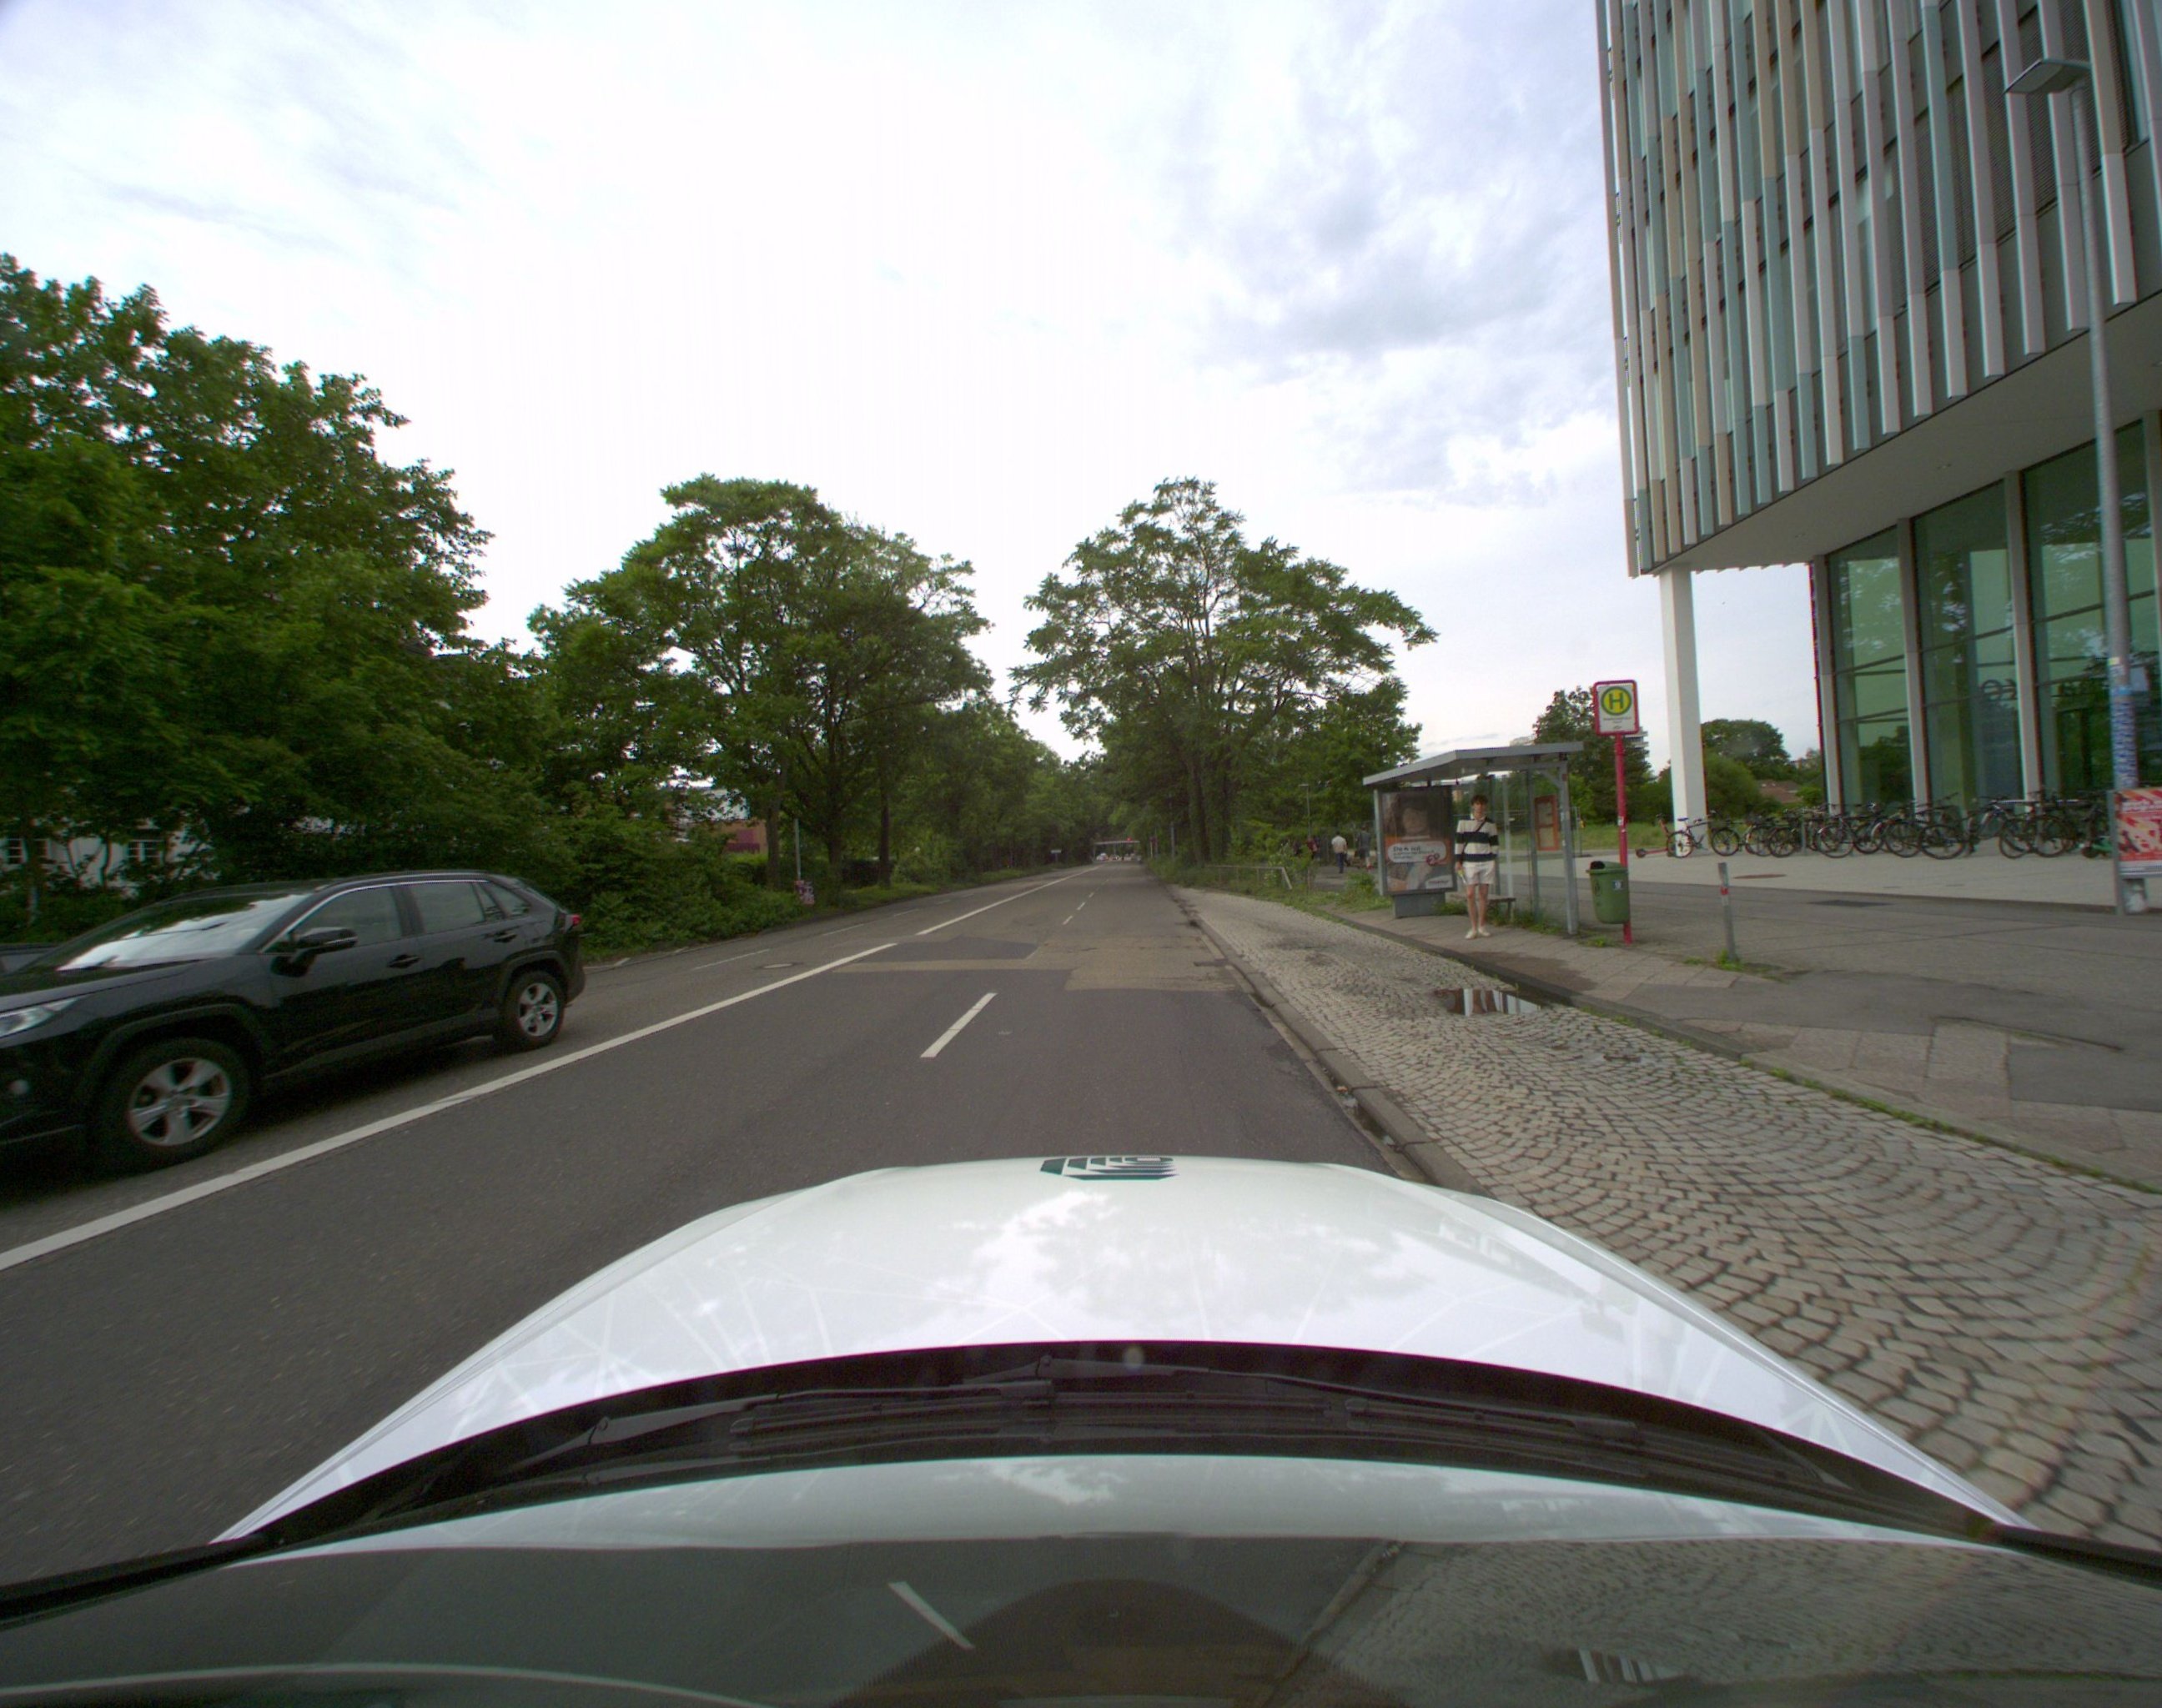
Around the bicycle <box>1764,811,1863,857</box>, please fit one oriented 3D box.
[{"bbox_3d":[16.487,-0.436,18.351,1.599,0.874,0.557,-5,-1,4],"label":"bicycle"}]

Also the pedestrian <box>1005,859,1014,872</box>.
[{"bbox_3d":[-8.625,1.390,98.270,0.788,1.613,0.849,-2,0,3],"label":"pedestrian"}]

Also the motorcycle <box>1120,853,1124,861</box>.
[{"bbox_3d":[10.883,0.839,214.315,0.986,1.936,2.671,-2,0,4],"label":"motorcycle"}]

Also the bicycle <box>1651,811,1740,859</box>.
[{"bbox_3d":[16.508,-0.511,21.903,1.788,1.082,0.626,-6,-1,1],"label":"bicycle"}]

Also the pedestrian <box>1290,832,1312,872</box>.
[{"bbox_3d":[11.782,-0.107,43.664,0.820,2.013,0.721,-5,-1,3],"label":"pedestrian"}]

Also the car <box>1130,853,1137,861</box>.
[{"bbox_3d":[13.566,0.692,210.671,1.835,2.013,4.004,-2,0,3],"label":"car"}]

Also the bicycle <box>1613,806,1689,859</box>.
[{"bbox_3d":[16.543,-0.613,23.685,1.635,1.333,0.465,-6,-1,16],"label":"bicycle"}]

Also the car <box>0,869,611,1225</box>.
[{"bbox_3d":[-5.871,1.005,5.988,1.895,1.593,4.521,-4,-1,4],"label":"car"}]

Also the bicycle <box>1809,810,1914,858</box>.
[{"bbox_3d":[16.585,-0.416,17.327,1.599,0.874,0.557,-5,-1,4],"label":"bicycle"}]

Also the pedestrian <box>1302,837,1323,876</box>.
[{"bbox_3d":[12.540,0.125,44.086,0.820,2.013,0.721,-4,-1,3],"label":"pedestrian"}]

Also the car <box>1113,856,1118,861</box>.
[{"bbox_3d":[10.989,1.391,257.837,1.667,1.362,3.924,-2,0,3],"label":"car"}]

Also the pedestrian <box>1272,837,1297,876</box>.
[{"bbox_3d":[11.073,0.146,44.368,0.923,2.013,1.039,-4,-1,-1],"label":"pedestrian"}]

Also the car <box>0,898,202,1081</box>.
[{"bbox_3d":[-11.510,1.395,7.660,1.985,1.689,4.004,-2,0,3],"label":"car"}]

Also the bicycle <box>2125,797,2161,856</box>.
[{"bbox_3d":[16.354,-0.450,11.855,1.448,0.839,0.557,-5,-1,4],"label":"bicycle"}]

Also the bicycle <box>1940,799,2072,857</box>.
[{"bbox_3d":[16.569,-0.459,14.607,1.599,0.874,0.557,-5,-1,4],"label":"bicycle"}]

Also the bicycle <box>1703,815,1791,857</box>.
[{"bbox_3d":[16.243,-0.433,19.889,1.599,0.874,0.557,-5,-1,4],"label":"bicycle"}]

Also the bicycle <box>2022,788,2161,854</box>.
[{"bbox_3d":[15.935,-0.508,12.759,1.599,0.874,0.557,-5,-1,4],"label":"bicycle"}]

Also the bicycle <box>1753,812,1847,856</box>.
[{"bbox_3d":[16.694,-0.453,18.928,1.599,0.874,0.557,-5,-1,4],"label":"bicycle"}]

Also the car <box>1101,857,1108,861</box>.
[{"bbox_3d":[7.400,1.515,257.933,1.983,1.354,3.901,-2,0,6],"label":"car"}]

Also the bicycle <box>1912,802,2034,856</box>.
[{"bbox_3d":[16.602,-0.453,15.174,1.597,0.884,0.517,-4,-1,3],"label":"bicycle"}]

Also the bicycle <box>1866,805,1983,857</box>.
[{"bbox_3d":[16.686,-0.438,16.130,1.599,0.874,0.557,-5,-1,4],"label":"bicycle"}]

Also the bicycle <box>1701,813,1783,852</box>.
[{"bbox_3d":[16.813,-0.536,20.742,1.601,0.874,0.556,-4,0,-1],"label":"bicycle"}]

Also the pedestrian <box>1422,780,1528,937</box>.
[{"bbox_3d":[5.447,0.051,11.312,0.909,2.013,0.854,-6,1,2],"label":"pedestrian"}]

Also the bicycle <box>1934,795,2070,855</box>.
[{"bbox_3d":[15.959,-0.491,14.138,1.599,0.874,0.557,-5,-1,4],"label":"bicycle"}]

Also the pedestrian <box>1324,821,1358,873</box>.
[{"bbox_3d":[10.607,-0.278,33.230,0.923,2.013,1.039,-4,-1,-1],"label":"pedestrian"}]

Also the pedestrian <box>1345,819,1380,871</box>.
[{"bbox_3d":[11.465,-0.368,33.200,0.923,2.013,1.039,-4,-1,-1],"label":"pedestrian"}]

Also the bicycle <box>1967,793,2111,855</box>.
[{"bbox_3d":[15.914,-0.490,13.555,1.599,0.874,0.557,-5,-1,4],"label":"bicycle"}]
